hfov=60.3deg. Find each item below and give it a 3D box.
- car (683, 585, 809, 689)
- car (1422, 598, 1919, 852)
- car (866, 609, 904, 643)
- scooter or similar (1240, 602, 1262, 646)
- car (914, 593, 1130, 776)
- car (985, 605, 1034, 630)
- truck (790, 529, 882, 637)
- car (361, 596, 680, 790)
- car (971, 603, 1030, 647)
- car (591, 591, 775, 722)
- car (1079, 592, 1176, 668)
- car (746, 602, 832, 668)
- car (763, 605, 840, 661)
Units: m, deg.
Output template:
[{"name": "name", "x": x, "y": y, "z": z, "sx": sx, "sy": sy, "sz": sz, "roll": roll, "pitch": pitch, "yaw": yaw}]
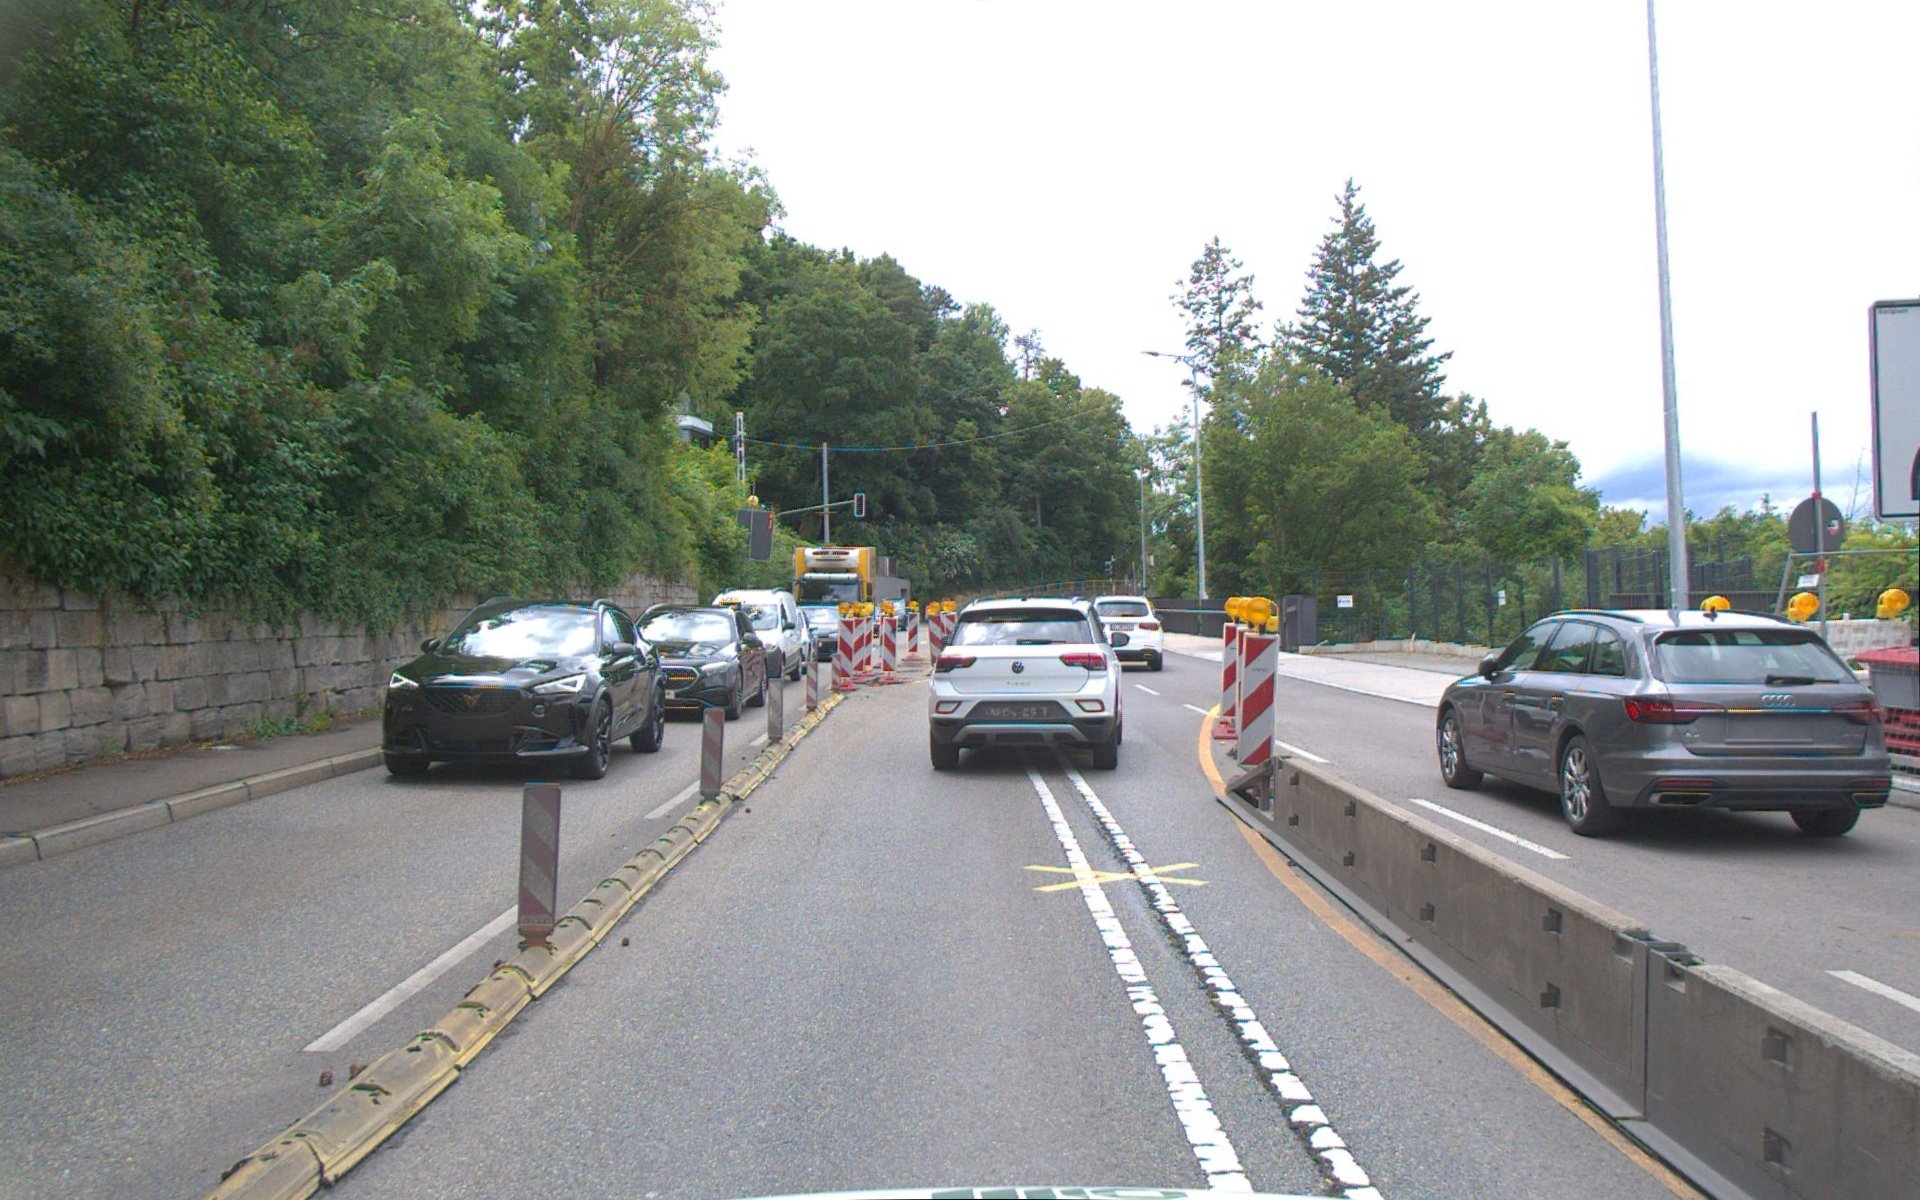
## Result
[{"name": "car", "x": -3.982, "y": 0.668, "z": 31.408, "sx": 1.766, "sy": 1.822, "sz": 4.342, "roll": 1, "pitch": 0, "yaw": 0}, {"name": "car", "x": 4.903, "y": 0.731, "z": 11.993, "sx": 1.802, "sy": 1.480, "sz": 4.627, "roll": 0, "pitch": 0, "yaw": 0}, {"name": "car", "x": -3.970, "y": 1.348, "z": 88.330, "sx": 1.845, "sy": 1.727, "sz": 4.670, "roll": 0, "pitch": 0, "yaw": -1}, {"name": "scooter or similar", "x": 8.693, "y": 0.717, "z": 49.451, "sx": 0.523, "sy": 1.248, "sz": 1.207, "roll": -2, "pitch": 1, "yaw": 6}, {"name": "car", "x": 0.733, "y": 0.741, "z": 16.339, "sx": 1.827, "sy": 1.563, "sz": 3.806, "roll": 1, "pitch": 0, "yaw": 7}, {"name": "car", "x": 3.206, "y": 1.131, "z": 106.949, "sx": 1.868, "sy": 1.601, "sz": 3.999, "roll": 1, "pitch": -1, "yaw": 23}, {"name": "truck", "x": -4.296, "y": -0.550, "z": 58.718, "sx": 2.675, "sy": 3.571, "sz": 7.349, "roll": -1, "pitch": 0, "yaw": 0}, {"name": "car", "x": -3.869, "y": 0.755, "z": 15.349, "sx": 1.791, "sy": 1.511, "sz": 4.317, "roll": 1, "pitch": 0, "yaw": 0}, {"name": "car", "x": 1.549, "y": 0.956, "z": 64.382, "sx": 1.869, "sy": 1.601, "sz": 3.996, "roll": 1, "pitch": 0, "yaw": -4}, {"name": "car", "x": -3.746, "y": 0.727, "z": 23.141, "sx": 1.793, "sy": 1.620, "sz": 4.654, "roll": 1, "pitch": 0, "yaw": 0}, {"name": "car", "x": 3.762, "y": 0.660, "z": 37.791, "sx": 1.952, "sy": 1.614, "sz": 4.001, "roll": 1, "pitch": 0, "yaw": 2}, {"name": "car", "x": -4.161, "y": 0.837, "z": 40.908, "sx": 1.755, "sy": 1.534, "sz": 4.310, "roll": 1, "pitch": 0, "yaw": -1}, {"name": "car", "x": -4.369, "y": 0.895, "z": 46.251, "sx": 1.734, "sy": 1.467, "sz": 4.745, "roll": 1, "pitch": 0, "yaw": -1}]
